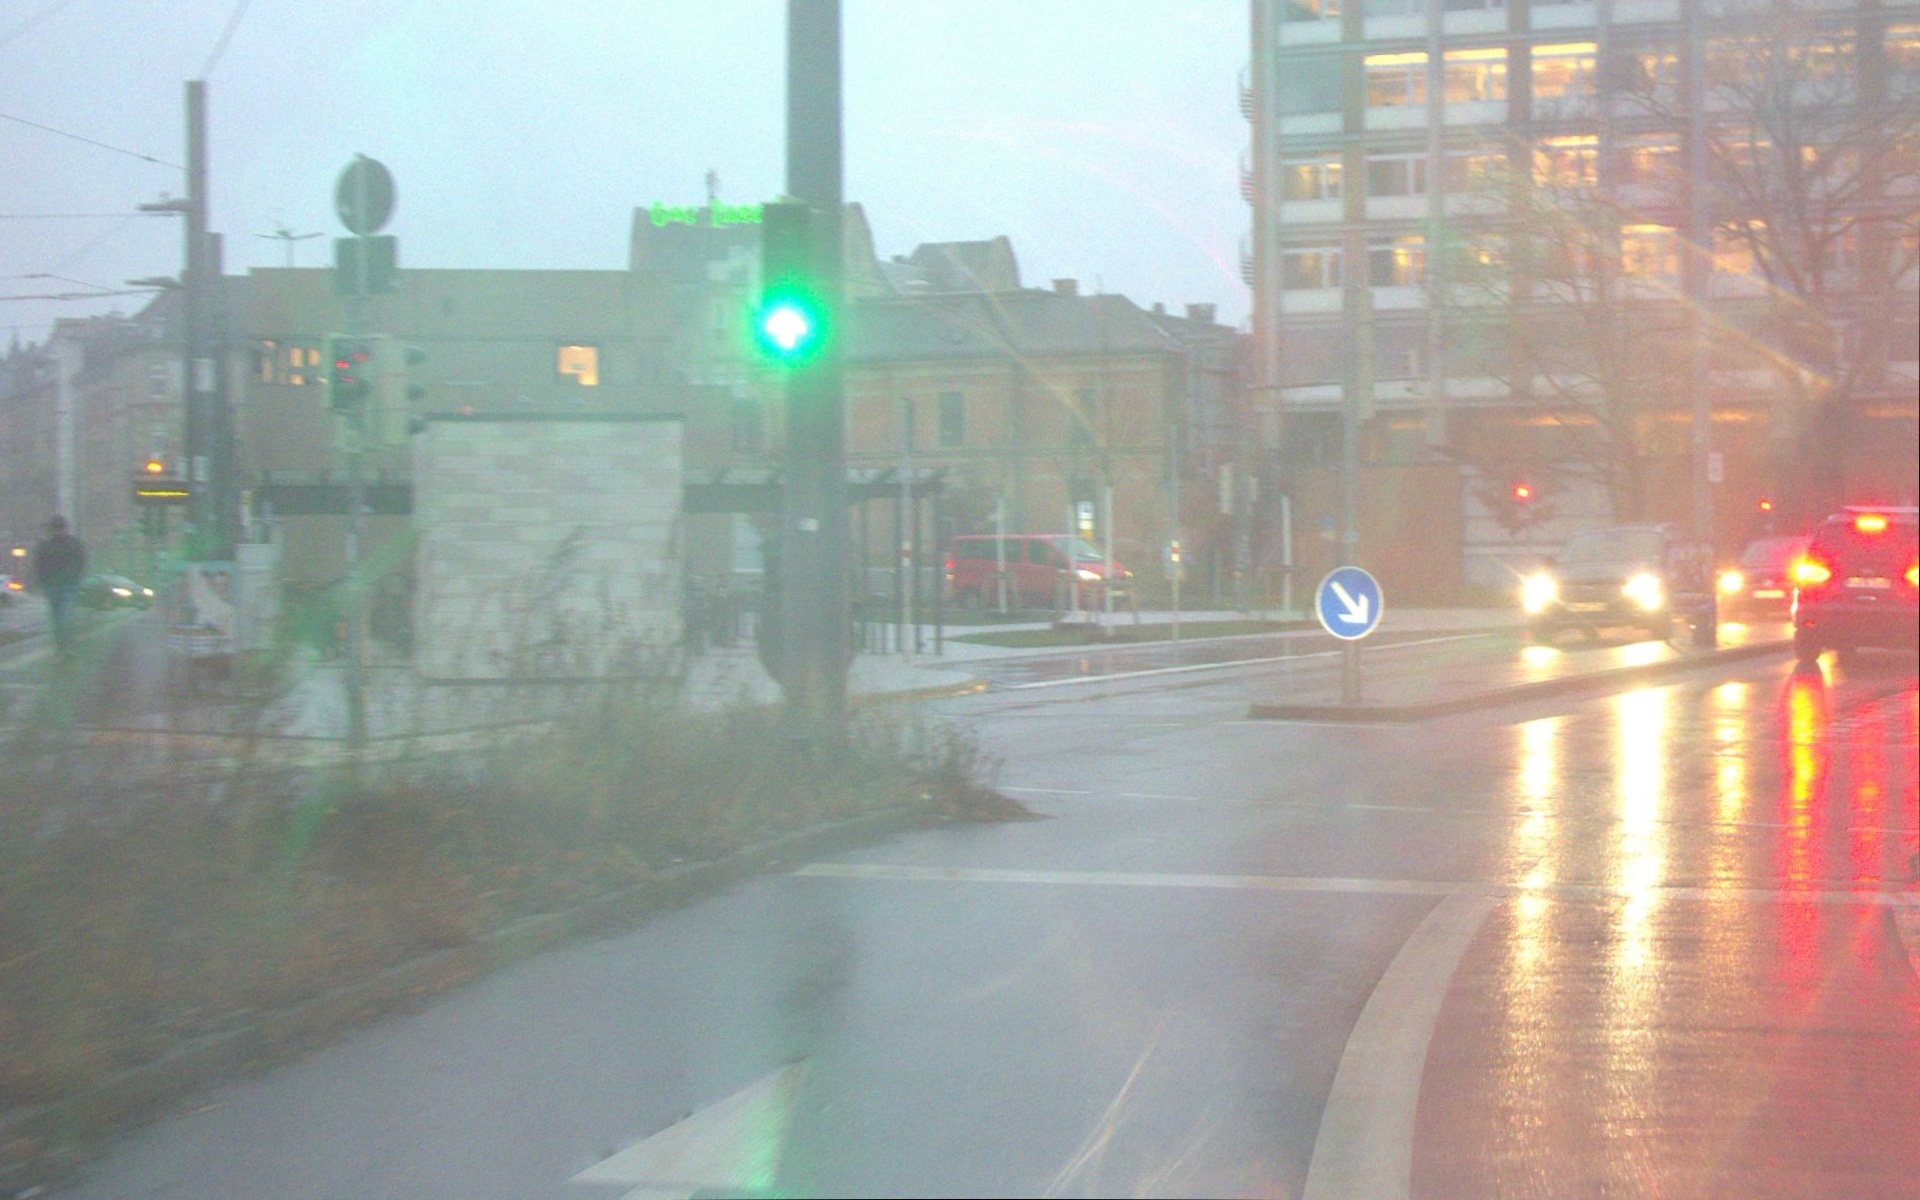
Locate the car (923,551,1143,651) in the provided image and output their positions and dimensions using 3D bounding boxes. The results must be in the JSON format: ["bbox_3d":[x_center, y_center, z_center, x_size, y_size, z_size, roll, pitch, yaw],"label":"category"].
[{"bbox_3d":[1.763,0.024,84.401,5.033,2.273,2.253,2,0,40],"label":"car"}]

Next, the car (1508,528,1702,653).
[{"bbox_3d":[9.178,-0.161,48.671,1.756,1.656,4.525,-1,1,23],"label":"car"}]

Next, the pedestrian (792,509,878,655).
[{"bbox_3d":[-1.450,-0.206,40.046,0.674,1.668,0.729,2,0,27],"label":"pedestrian"}]

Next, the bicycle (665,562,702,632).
[{"bbox_3d":[-4.757,-0.046,59.012,0.548,1.161,1.899,2,0,-6],"label":"bicycle"}]

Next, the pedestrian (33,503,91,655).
[{"bbox_3d":[-10.845,-0.253,41.517,0.602,1.807,0.826,2,0,-15],"label":"pedestrian"}]

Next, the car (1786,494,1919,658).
[{"bbox_3d":[10.981,-0.321,40.647,1.649,1.812,3.995,2,2,23],"label":"car"}]

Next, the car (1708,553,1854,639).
[{"bbox_3d":[14.318,-0.095,59.785,1.749,1.373,4.361,-1,1,23],"label":"car"}]

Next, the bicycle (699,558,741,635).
[{"bbox_3d":[-3.760,-0.055,53.726,0.548,1.161,1.899,2,0,-6],"label":"bicycle"}]
